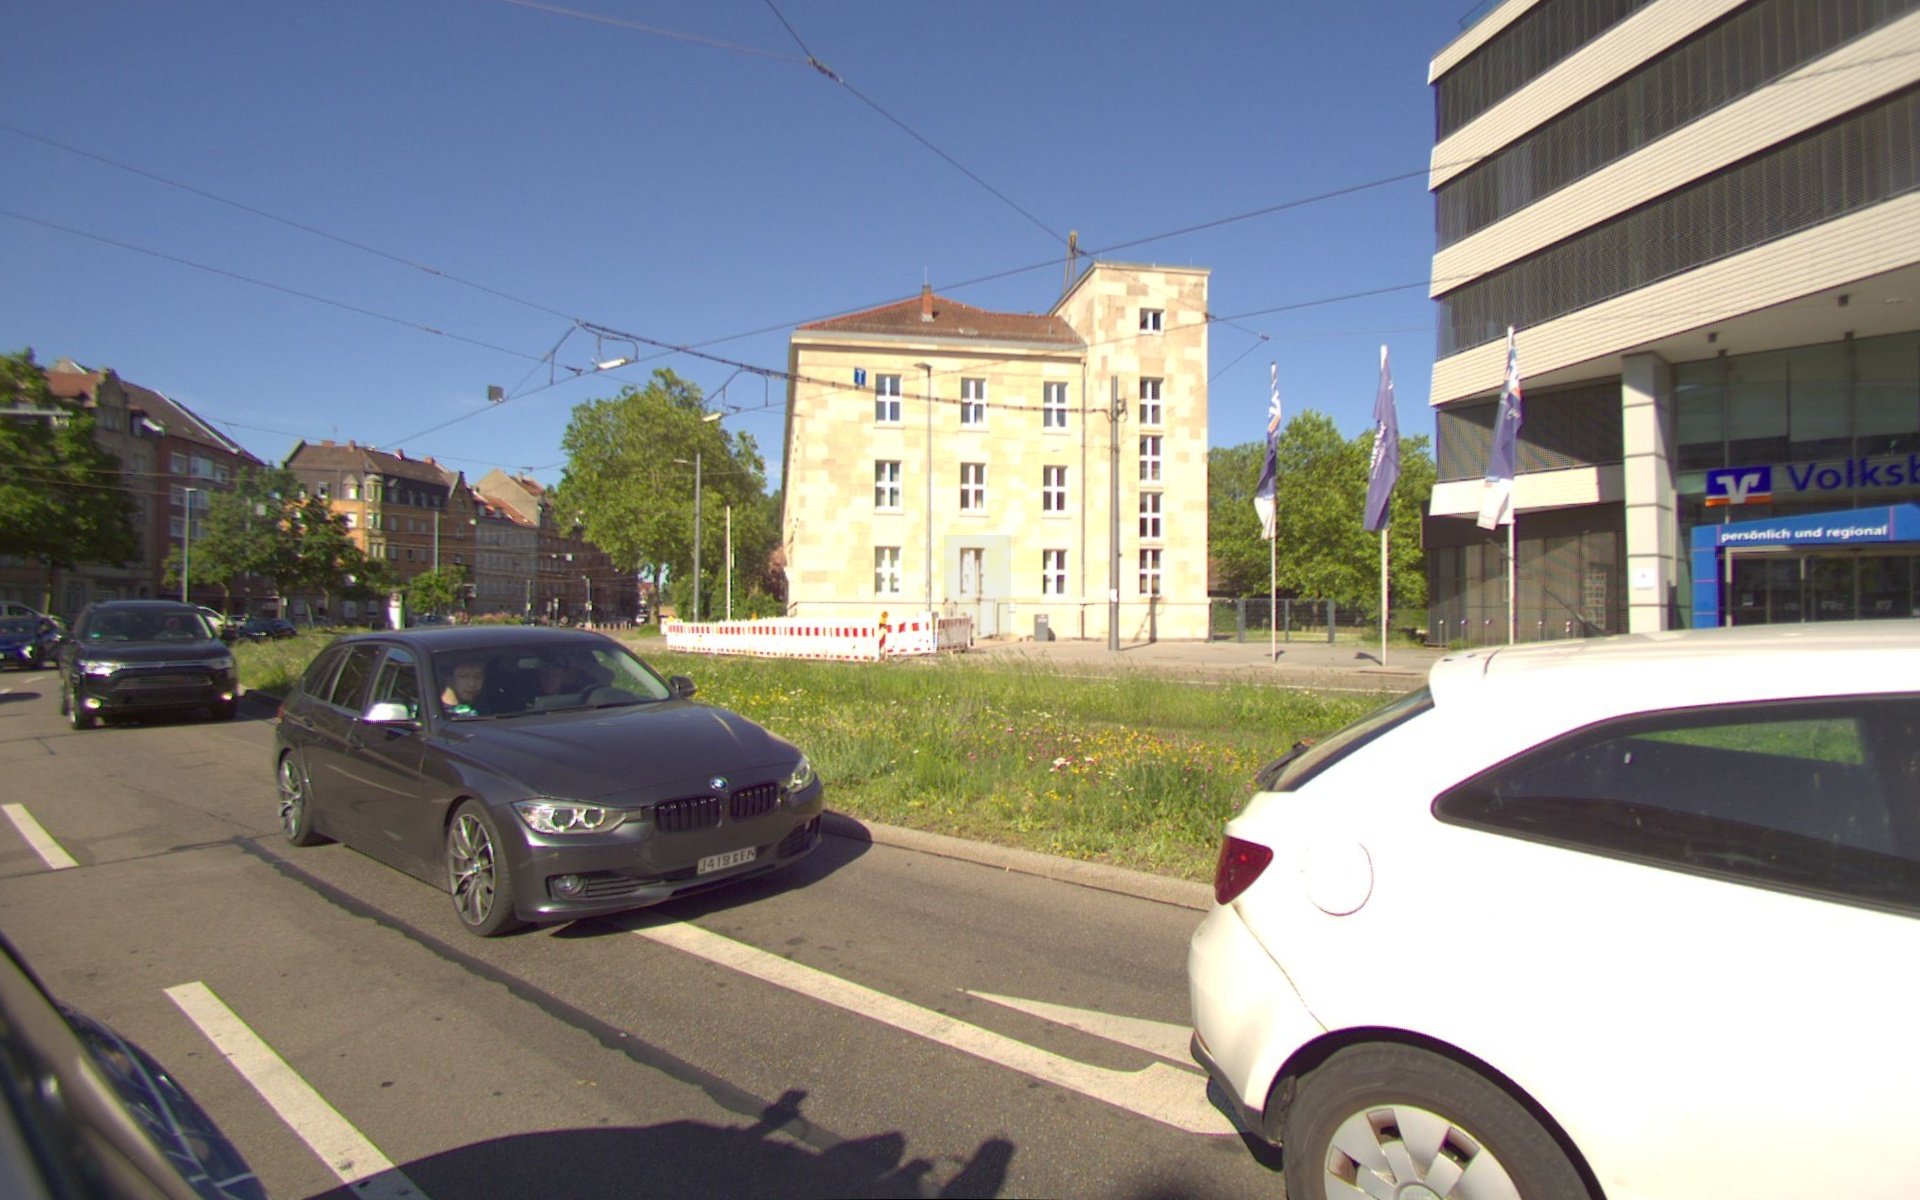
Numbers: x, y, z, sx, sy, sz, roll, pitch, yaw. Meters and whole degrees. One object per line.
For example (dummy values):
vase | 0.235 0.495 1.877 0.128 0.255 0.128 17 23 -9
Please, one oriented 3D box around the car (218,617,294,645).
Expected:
car | -37.630 1.634 54.215 1.859 1.438 4.388 0 -1 -14

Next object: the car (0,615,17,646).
car | -48.405 1.413 48.989 3.970 1.490 1.814 4 -2 -44

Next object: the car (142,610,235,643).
car | -52.894 1.832 69.431 2.022 2.091 4.809 -1 -3 45

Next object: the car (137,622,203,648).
car | -62.064 2.740 79.644 1.970 1.484 4.498 -8 3 -8

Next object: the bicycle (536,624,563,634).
bicycle | -59.704 4.172 147.246 1.940 1.427 6.837 1 -2 -7

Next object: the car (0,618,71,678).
car | -27.491 1.356 29.186 1.966 1.629 4.276 1 -1 -30

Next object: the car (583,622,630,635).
car | -41.503 3.308 118.762 4.897 1.464 1.833 1 -2 4

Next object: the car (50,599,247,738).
car | -11.871 0.877 14.676 1.815 1.695 4.646 0 -1 -44

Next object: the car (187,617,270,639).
car | -54.864 2.110 75.986 4.807 1.446 2.022 4 -3 -43

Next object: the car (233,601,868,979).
car | -2.737 0.790 6.128 4.465 1.434 1.716 -1 1 41

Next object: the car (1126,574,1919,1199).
car | 2.329 0.672 1.589 3.780 1.434 1.615 -1 1 41

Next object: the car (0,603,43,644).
car | -50.142 1.136 51.430 5.105 2.028 2.104 3 -2 -40
